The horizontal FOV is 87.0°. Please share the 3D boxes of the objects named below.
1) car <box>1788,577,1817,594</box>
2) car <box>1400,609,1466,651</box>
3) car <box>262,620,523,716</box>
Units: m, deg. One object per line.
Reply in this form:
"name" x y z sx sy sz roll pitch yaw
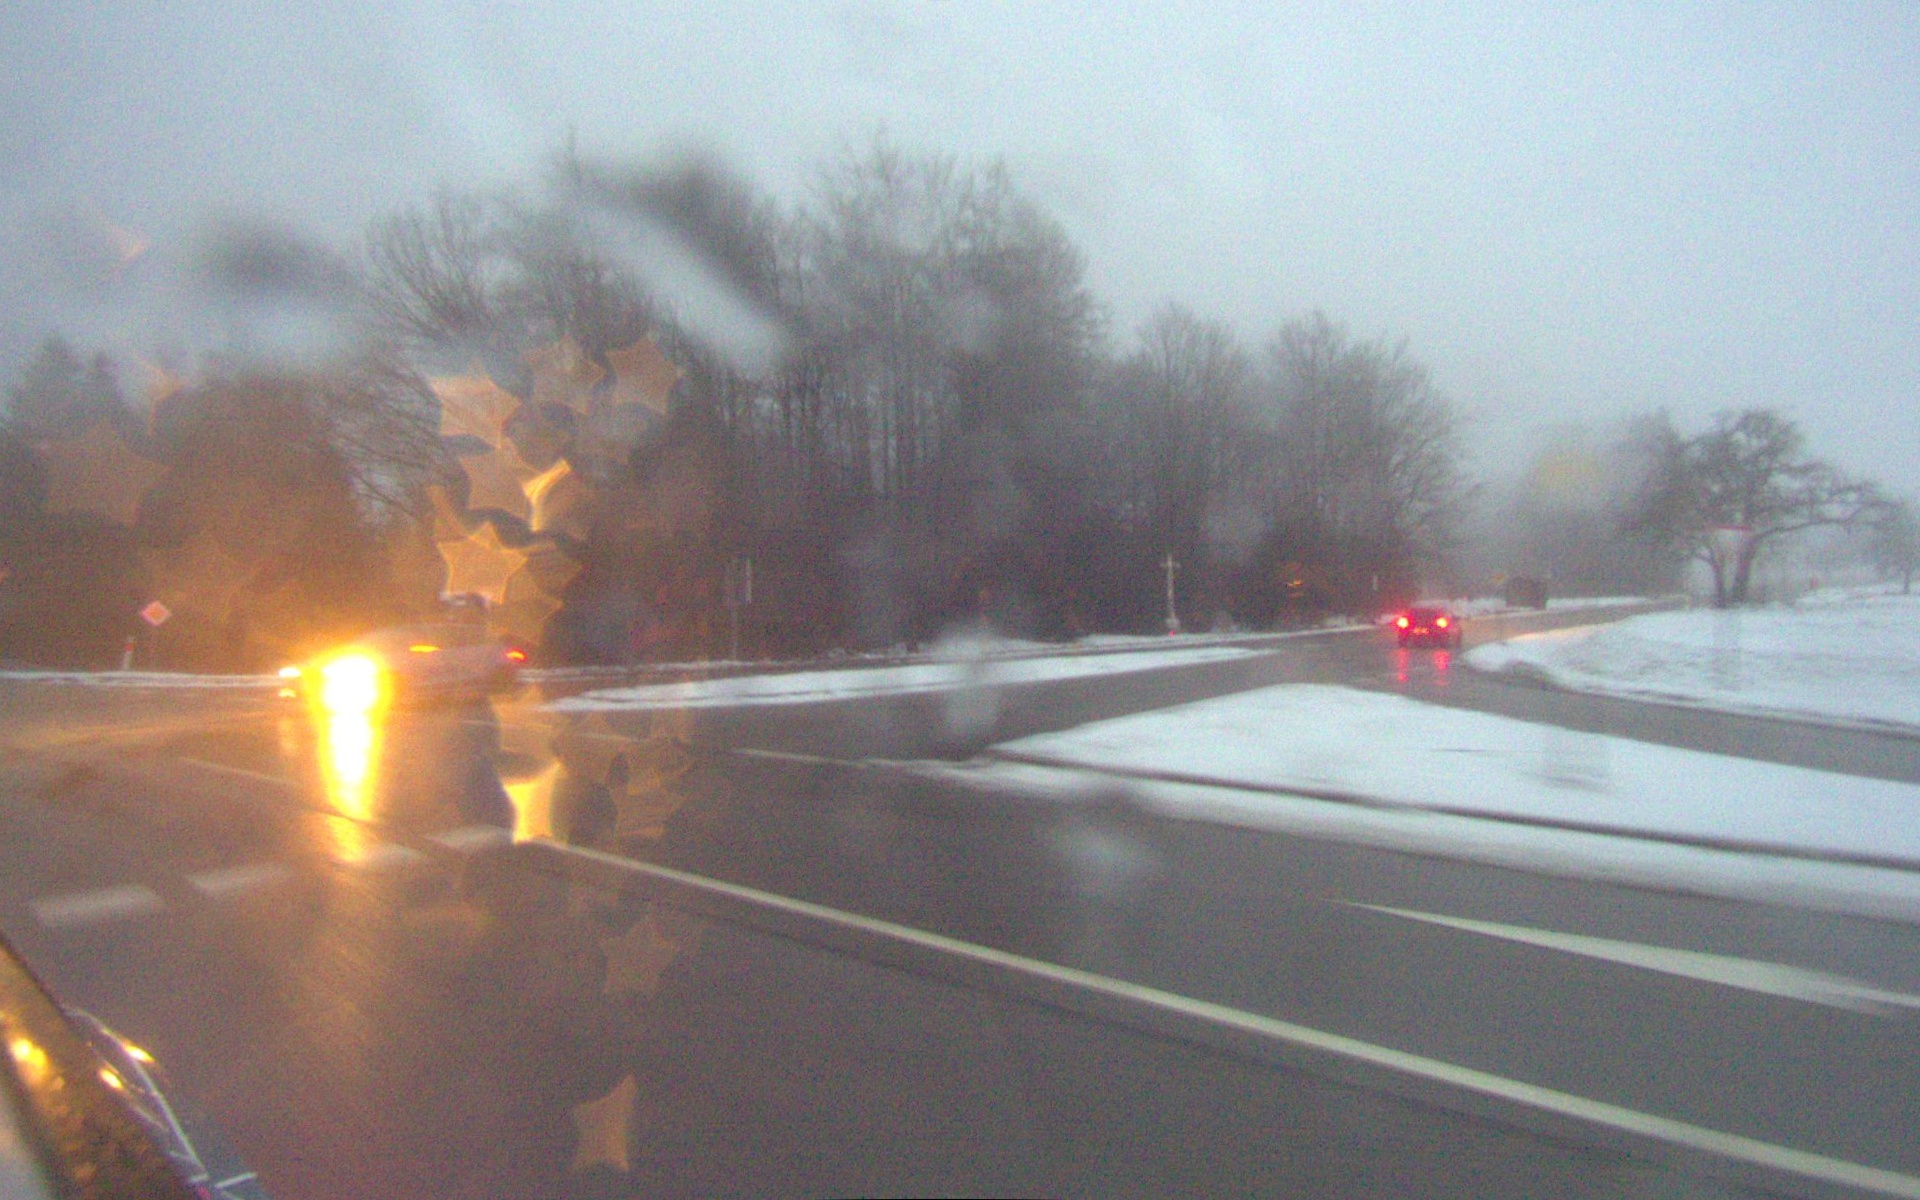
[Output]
"car" 98.413 -1.709 118.182 3.939 1.820 2.002 -1 -1 -42
"car" 17.548 1.089 37.477 1.574 1.463 3.371 -2 -2 36
"car" -9.606 1.097 17.434 1.716 1.445 3.647 -2 -2 24
